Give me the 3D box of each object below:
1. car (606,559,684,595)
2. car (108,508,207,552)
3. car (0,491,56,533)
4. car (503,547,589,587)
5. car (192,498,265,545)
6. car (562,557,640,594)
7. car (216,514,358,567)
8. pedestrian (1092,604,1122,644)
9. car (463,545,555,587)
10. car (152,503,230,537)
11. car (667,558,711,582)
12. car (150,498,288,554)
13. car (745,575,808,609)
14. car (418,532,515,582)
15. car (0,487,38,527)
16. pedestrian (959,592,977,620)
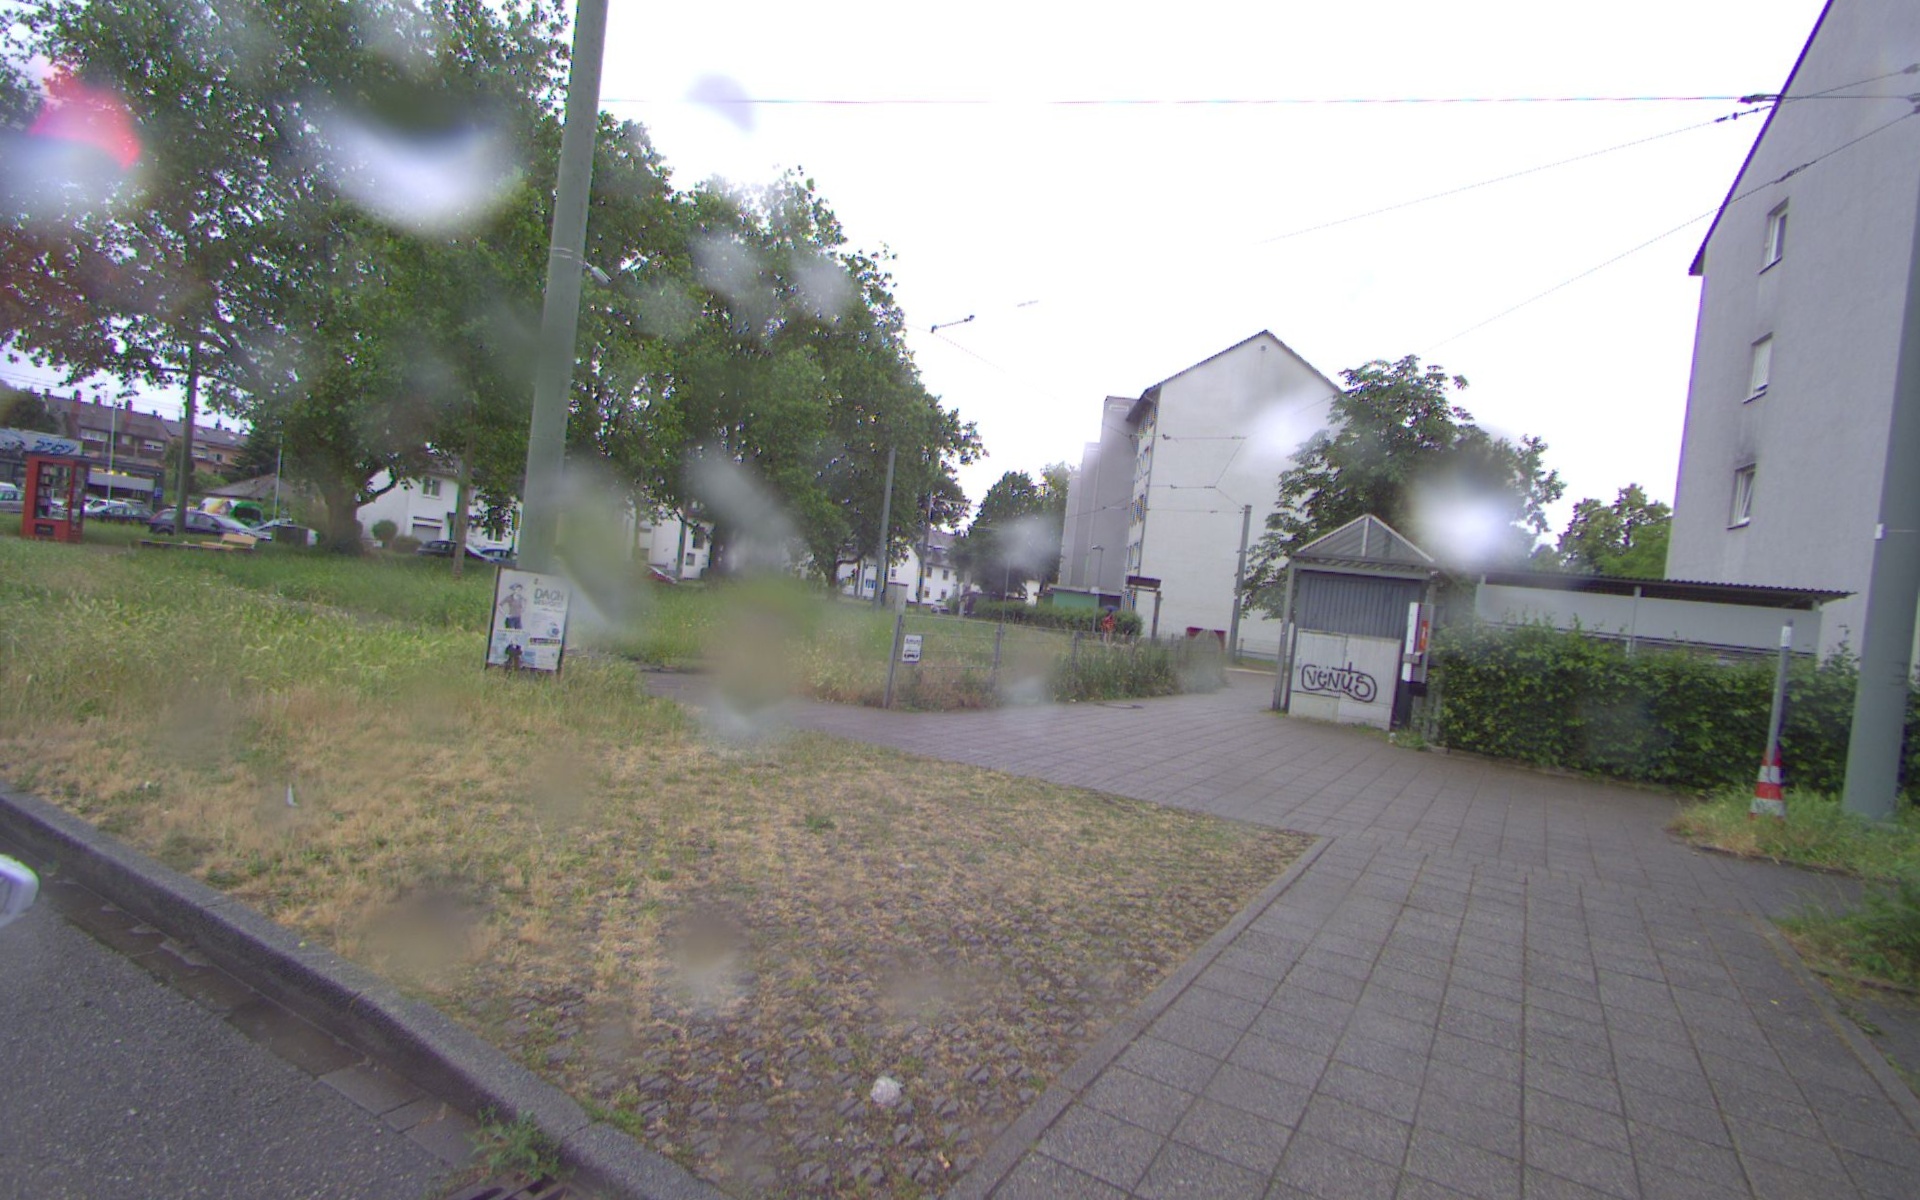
[{"bbox_3d":[-18.631,-1.330,59.590,3.842,1.513,1.812,7,-2,3],"label":"car"},{"bbox_3d":[-43.429,-3.778,54.510,1.859,1.720,3.692,6,-2,32],"label":"car"},{"bbox_3d":[-46.584,-4.425,48.727,1.859,1.720,3.692,6,-2,32],"label":"car"},{"bbox_3d":[-21.981,-1.723,53.499,3.855,1.512,1.806,8,-2,-15],"label":"car"},{"bbox_3d":[-46.747,-5.052,64.267,4.280,2.471,1.998,6,-2,31],"label":"car"},{"bbox_3d":[-20.113,-1.356,56.533,3.855,1.512,1.806,8,-2,-15],"label":"car"},{"bbox_3d":[-25.163,-2.201,37.710,1.819,1.300,3.987,6,-3,39],"label":"car"},{"bbox_3d":[6.763,1.110,46.300,0.806,1.674,0.889,6,-1,41],"label":"pedestrian"},{"bbox_3d":[-22.812,-1.681,51.063,3.855,1.512,1.806,8,-2,-15],"label":"car"},{"bbox_3d":[-55.468,-5.760,72.604,1.816,1.658,3.995,6,-2,32],"label":"car"},{"bbox_3d":[-25.715,-2.800,95.524,1.859,1.679,3.692,6,-2,32],"label":"car"},{"bbox_3d":[-29.194,-2.890,39.783,3.855,1.512,1.806,8,-2,-15],"label":"car"},{"bbox_3d":[-12.744,-0.545,70.103,3.843,1.785,1.812,7,-2,0],"label":"car"},{"bbox_3d":[-23.732,-2.037,48.530,3.710,1.819,1.806,8,-2,-15],"label":"car"},{"bbox_3d":[-54.726,-5.451,56.352,1.966,1.973,3.997,6,-2,30],"label":"car"},{"bbox_3d":[0.601,0.439,71.610,1.022,1.811,0.818,7,-1,-3],"label":"pedestrian"}]
